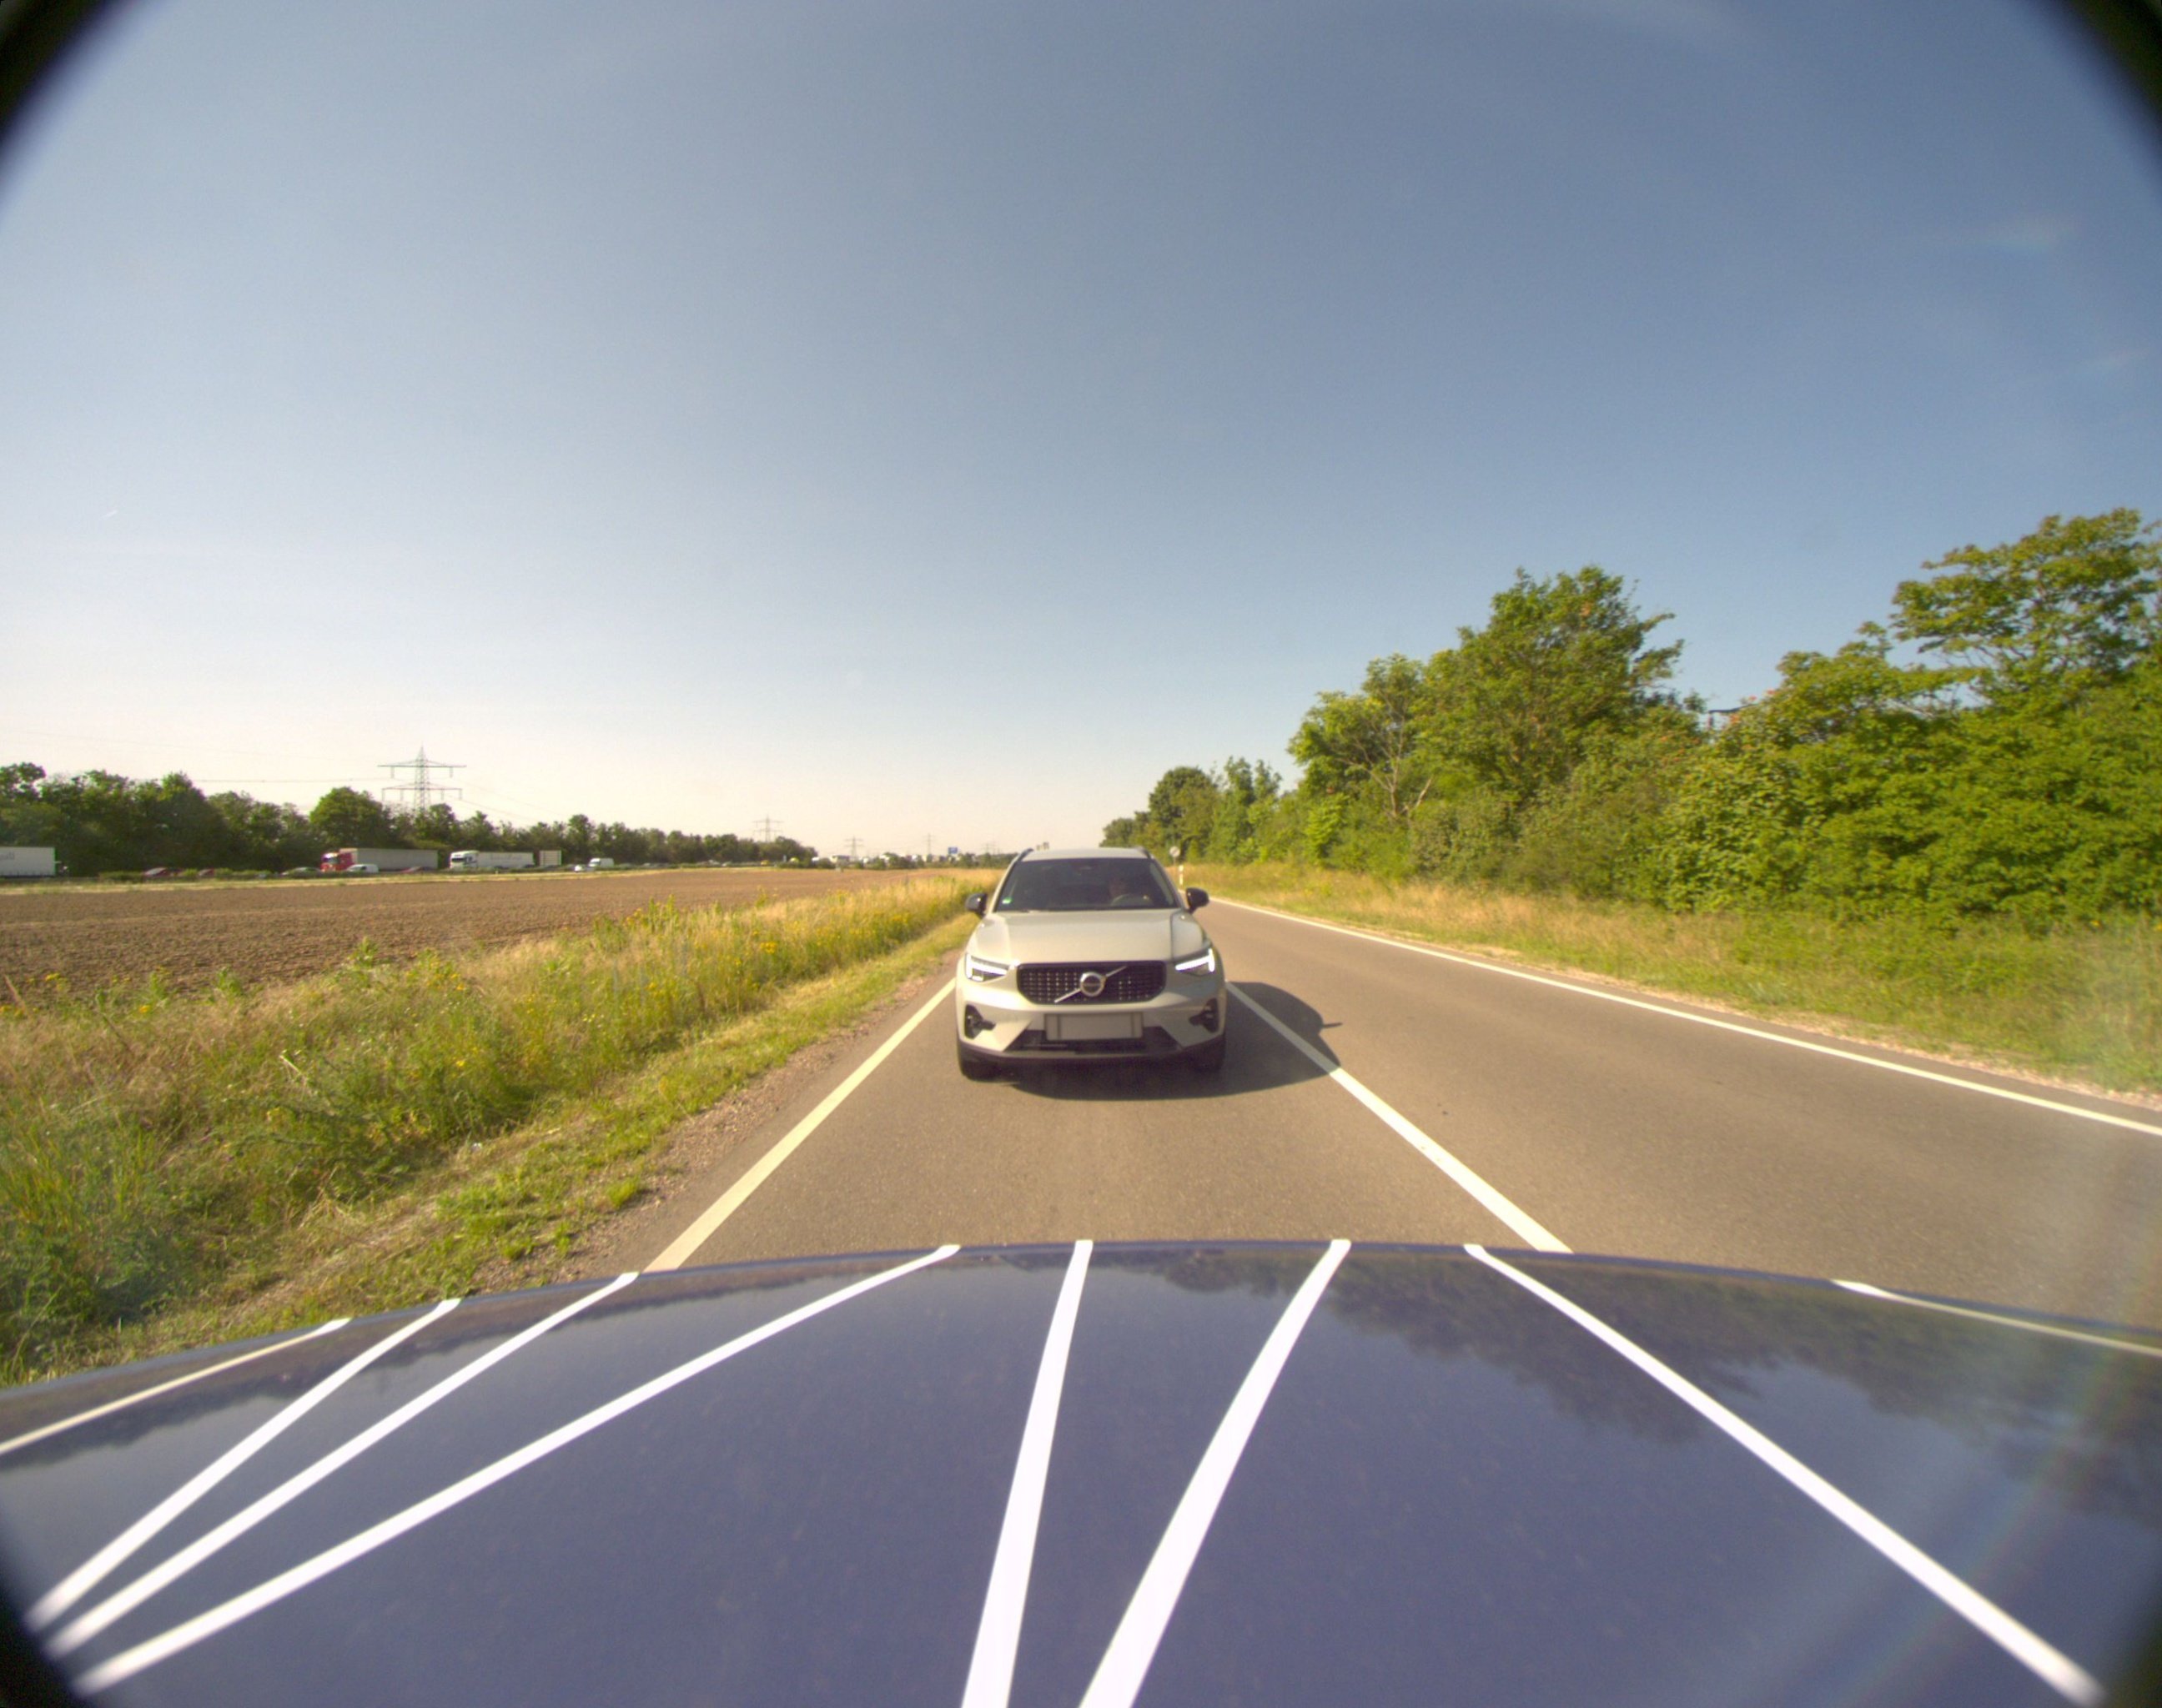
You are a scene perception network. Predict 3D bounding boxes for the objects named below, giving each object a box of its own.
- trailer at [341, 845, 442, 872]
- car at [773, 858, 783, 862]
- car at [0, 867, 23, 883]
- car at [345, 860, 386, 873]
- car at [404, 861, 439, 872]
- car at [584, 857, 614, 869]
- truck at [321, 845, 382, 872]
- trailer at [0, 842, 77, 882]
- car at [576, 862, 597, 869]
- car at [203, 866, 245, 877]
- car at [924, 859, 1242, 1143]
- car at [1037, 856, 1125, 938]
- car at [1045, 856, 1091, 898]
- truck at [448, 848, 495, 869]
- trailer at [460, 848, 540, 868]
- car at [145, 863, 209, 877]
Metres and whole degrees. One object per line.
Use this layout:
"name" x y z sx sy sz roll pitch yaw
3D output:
"trailer" -104.000 0.654 115.082 2.953 3.711 13.780 -1 0 -1
"car" -90.833 1.889 227.936 1.550 1.227 3.619 -3 0 -2
"car" -97.309 1.920 67.069 1.855 1.377 4.247 -2 -1 -2
"car" -97.453 1.721 103.493 1.707 1.629 4.093 -2 0 -2
"car" -97.594 1.865 112.511 1.707 1.500 4.093 -2 0 -1
"car" -99.563 1.897 157.009 2.042 2.432 6.413 -1 0 -1
"truck" -103.849 0.630 108.253 2.953 3.711 5.869 -1 0 -1
"trailer" -102.906 0.777 70.037 3.079 3.711 13.365 -1 0 0
"car" -90.239 2.139 138.697 1.550 1.227 3.619 -3 0 -2
"car" -102.884 2.064 91.296 1.344 1.212 3.291 -2 0 -2
"car" -0.005 0.877 6.551 1.840 1.627 4.135 -1 0 -1
"car" -0.053 0.895 17.701 1.790 1.664 3.999 -1 0 -2
"car" -0.583 0.923 31.963 1.790 1.664 3.999 -1 0 -2
"truck" -103.968 0.698 129.767 3.211 3.510 6.108 0 0 -2
"trailer" -104.195 0.721 136.727 3.211 3.510 15.080 0 0 -2
"car" -97.463 1.691 81.999 1.855 1.377 4.247 -2 -1 -2
